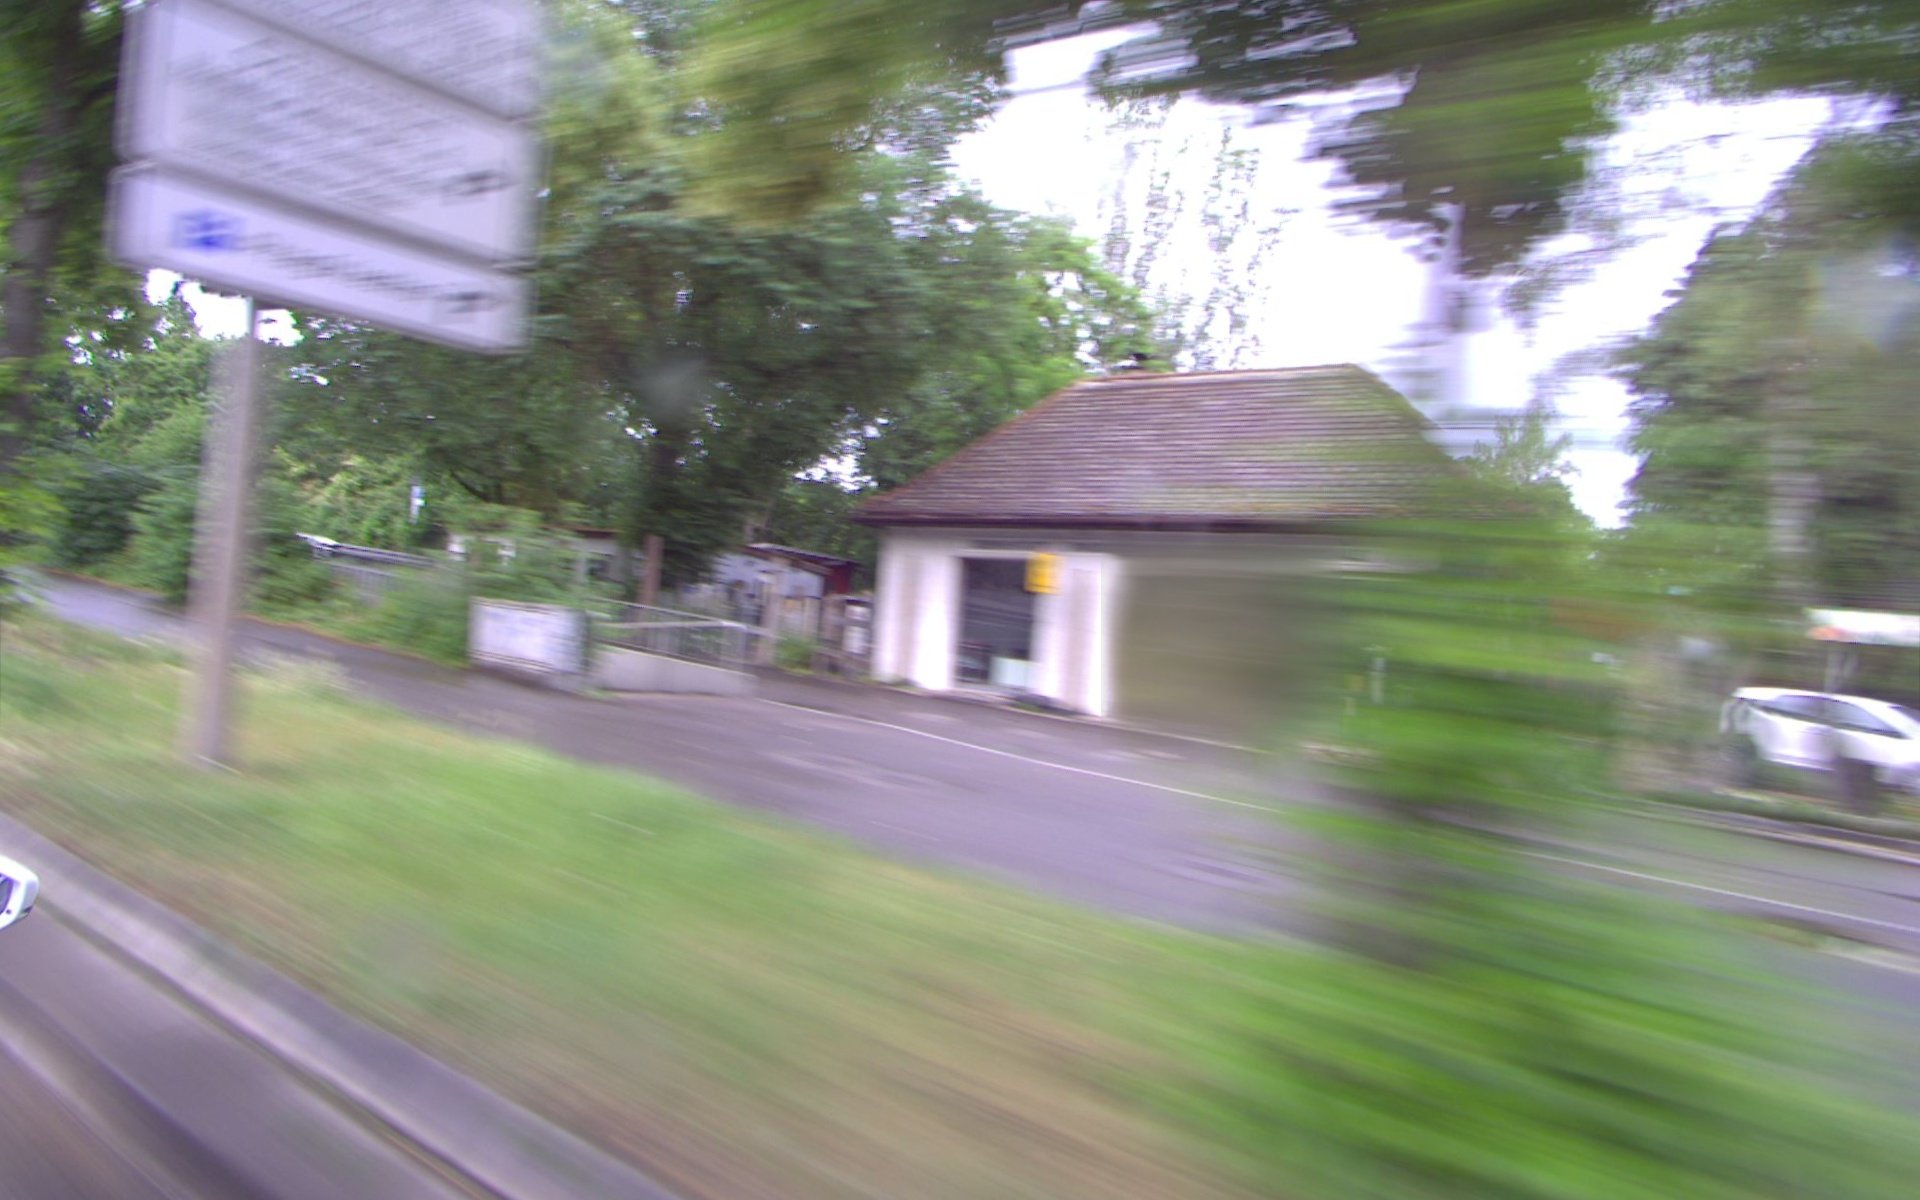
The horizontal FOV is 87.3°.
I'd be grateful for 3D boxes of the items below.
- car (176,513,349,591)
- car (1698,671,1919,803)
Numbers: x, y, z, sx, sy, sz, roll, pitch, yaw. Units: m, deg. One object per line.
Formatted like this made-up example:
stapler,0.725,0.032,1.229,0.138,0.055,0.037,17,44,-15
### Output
car,-24.528,-1.646,35.529,4.395,1.854,1.944,9,-2,-9
car,14.617,2.240,16.312,1.813,1.599,3.732,6,1,-30
